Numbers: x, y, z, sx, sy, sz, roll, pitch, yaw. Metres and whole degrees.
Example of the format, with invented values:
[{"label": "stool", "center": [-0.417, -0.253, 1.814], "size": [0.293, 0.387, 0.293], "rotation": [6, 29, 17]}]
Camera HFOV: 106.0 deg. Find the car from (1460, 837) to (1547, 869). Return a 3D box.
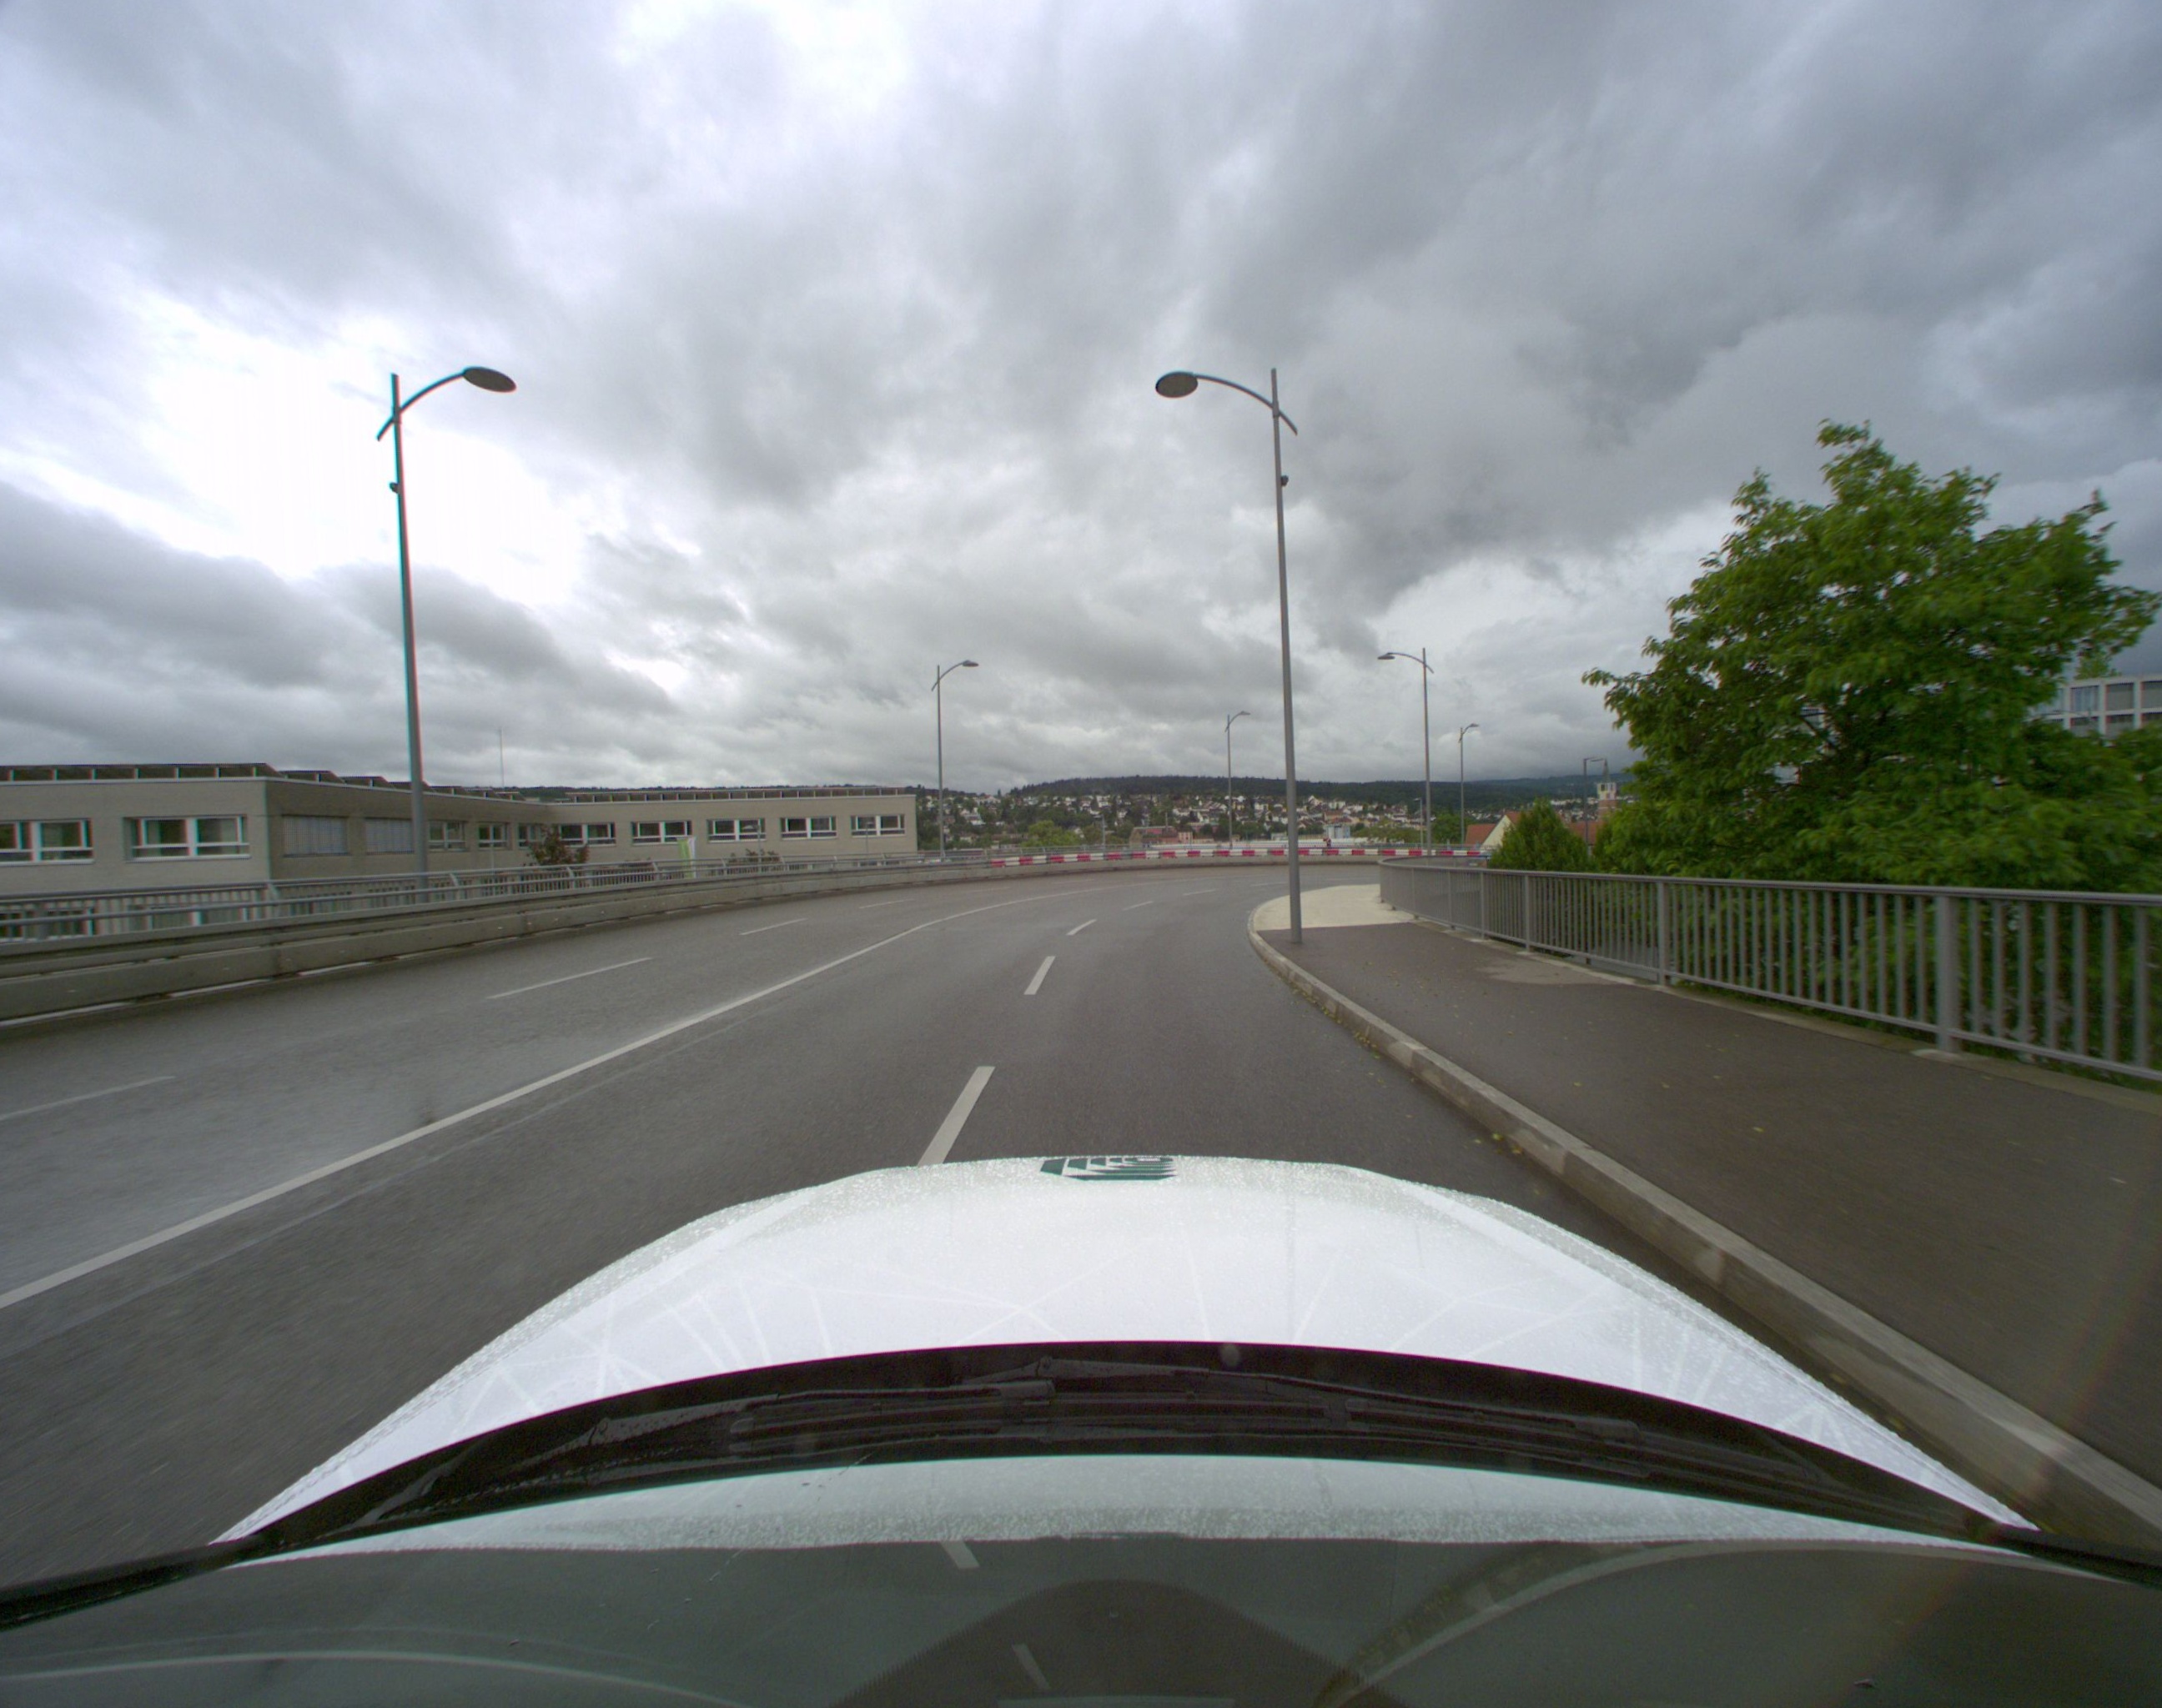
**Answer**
[{"label": "car", "center": [20.126, -0.083, 38.789], "size": [3.728, 1.419, 1.699], "rotation": [-1, 2, -22]}]
